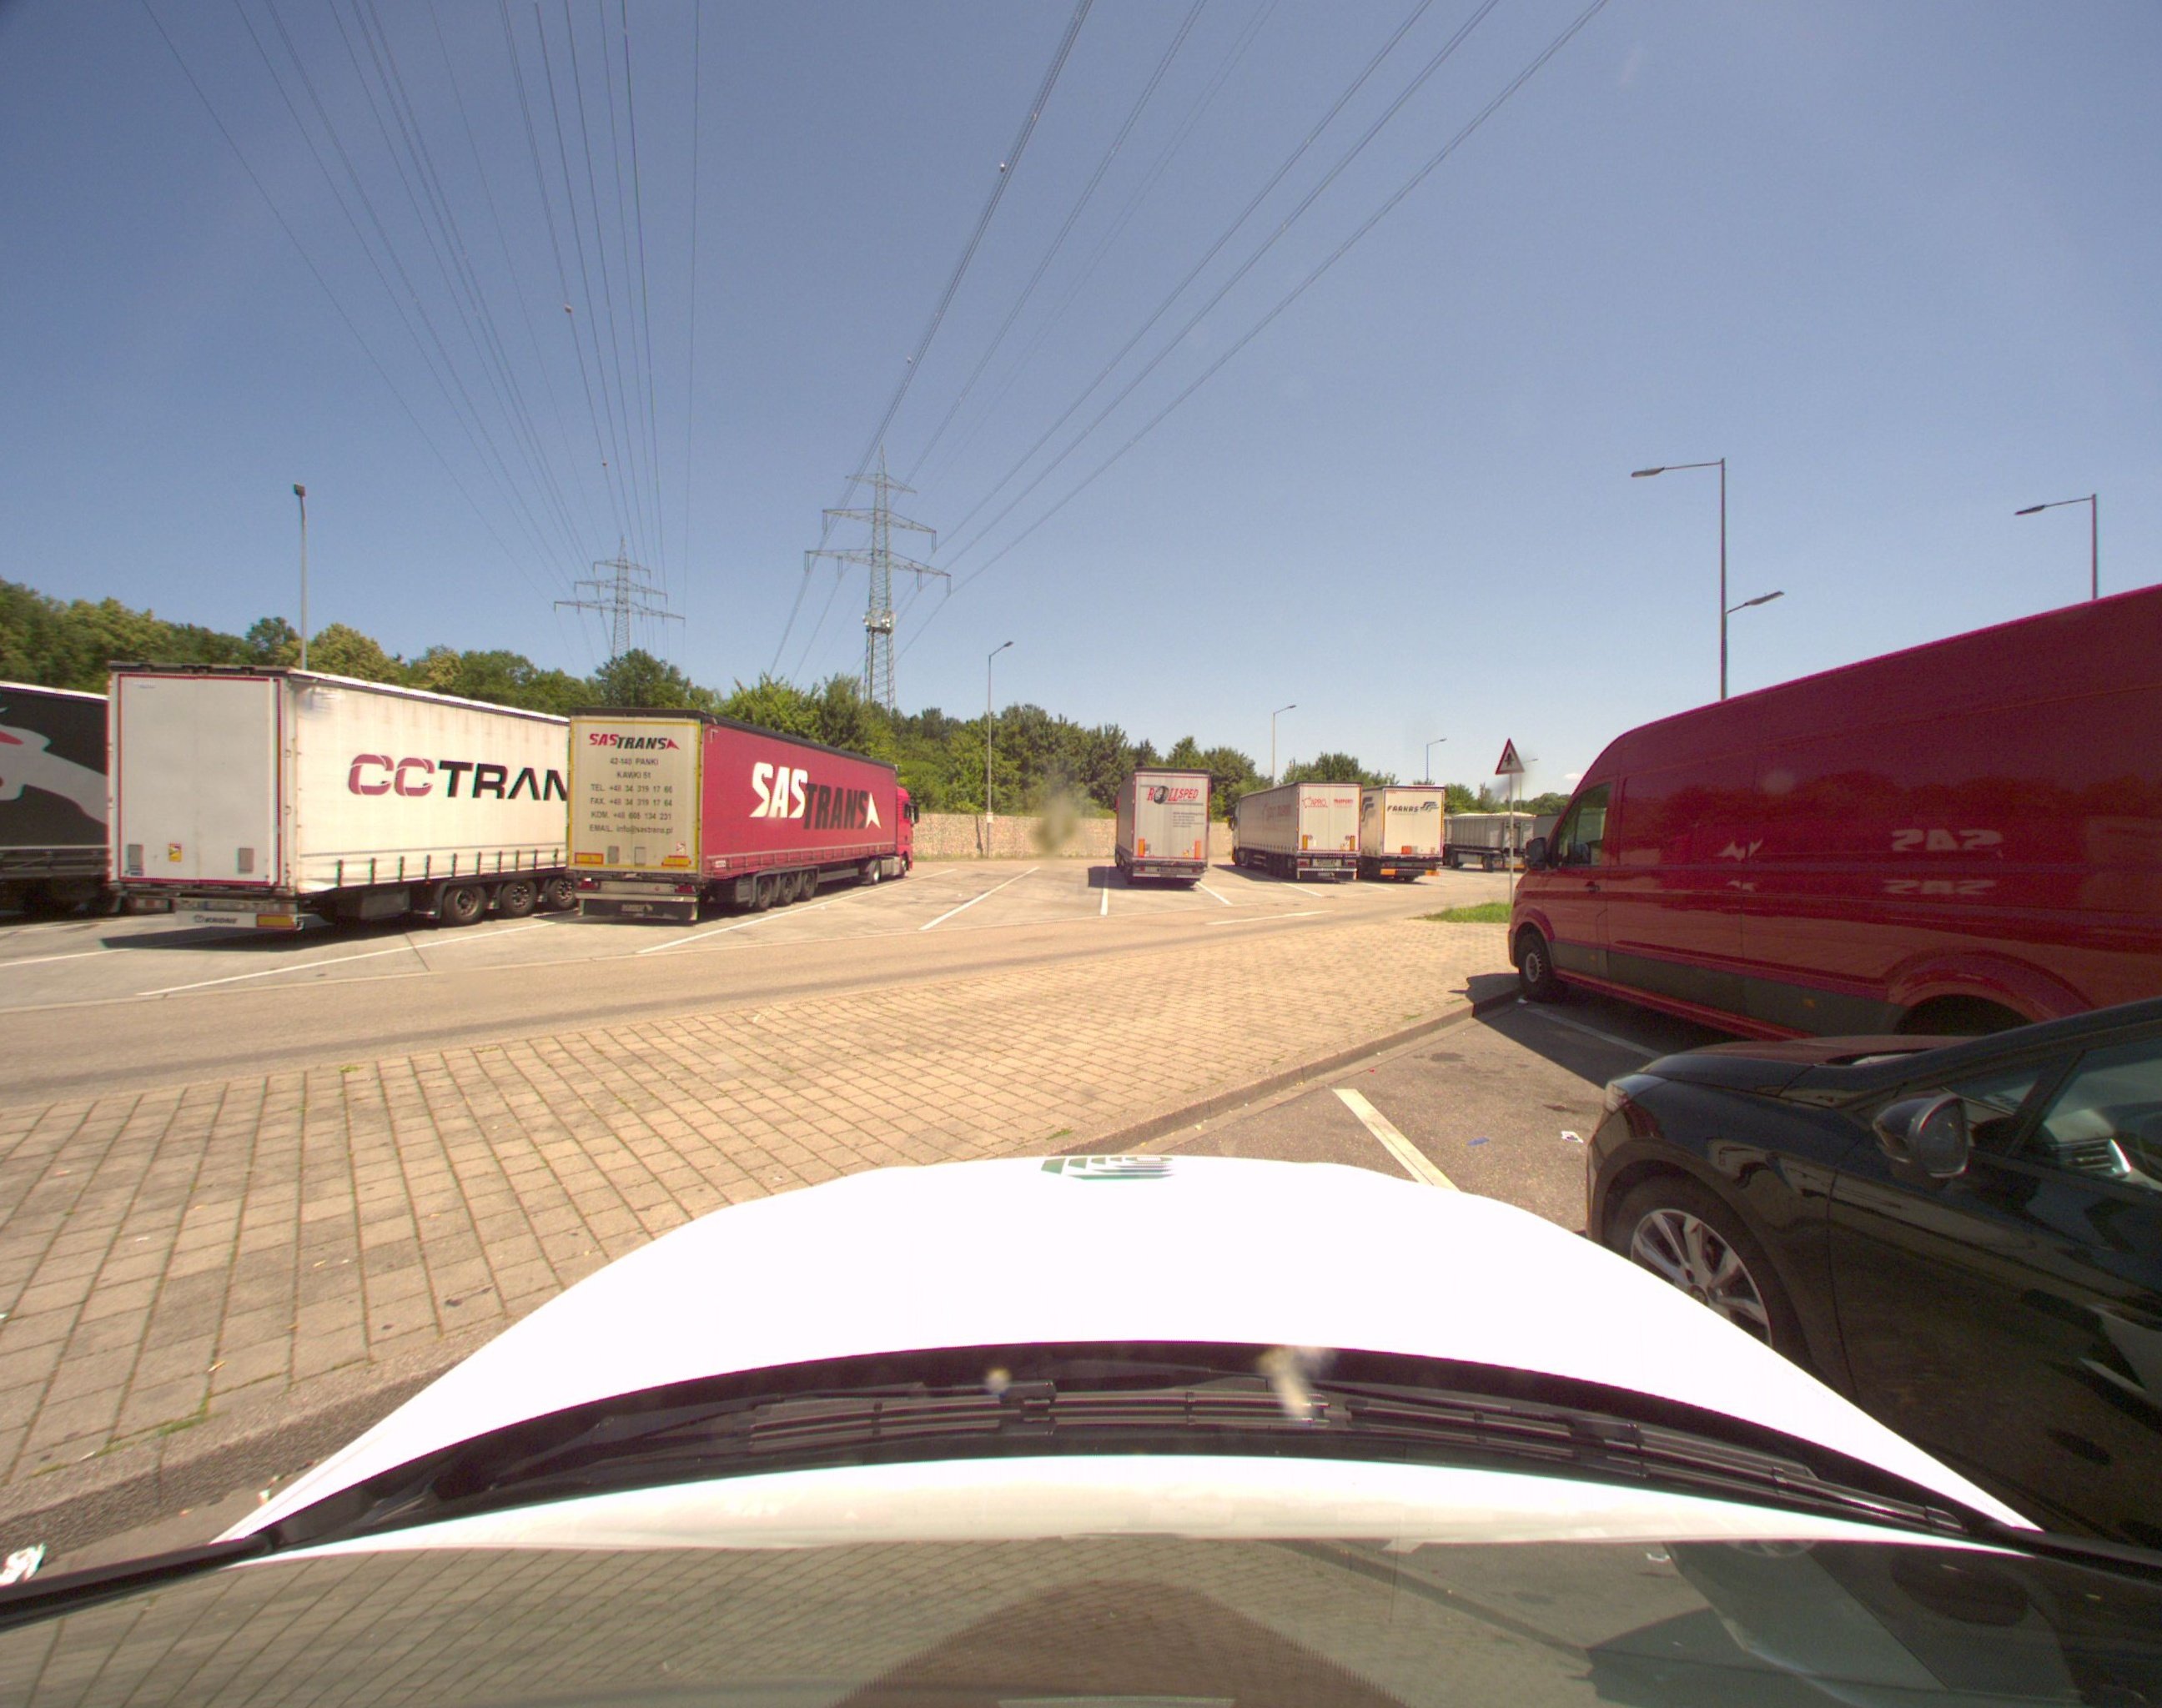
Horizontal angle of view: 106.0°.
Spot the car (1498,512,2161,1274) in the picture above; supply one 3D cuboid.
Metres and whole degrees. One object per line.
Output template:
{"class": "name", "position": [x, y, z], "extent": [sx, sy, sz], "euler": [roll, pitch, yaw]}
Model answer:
{"class": "car", "position": [5.153, 0.088, 5.472], "extent": [2.055, 2.695, 6.405], "euler": [-1, 1, 6]}

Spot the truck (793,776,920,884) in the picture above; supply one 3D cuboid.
{"class": "truck", "position": [-7.804, -0.838, 29.078], "extent": [2.841, 3.427, 5.486], "euler": [1, 1, 2]}

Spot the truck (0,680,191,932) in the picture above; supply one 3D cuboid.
{"class": "truck", "position": [-18.586, -0.807, 13.550], "extent": [2.692, 4.016, 4.326], "euler": [1, 2, 2]}

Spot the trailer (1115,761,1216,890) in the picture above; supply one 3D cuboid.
{"class": "trailer", "position": [3.022, -1.102, 33.279], "extent": [2.896, 4.132, 13.727], "euler": [1, 2, 1]}

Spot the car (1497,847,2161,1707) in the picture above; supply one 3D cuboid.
{"class": "car", "position": [2.509, 0.754, 1.162], "extent": [1.733, 1.482, 3.813], "euler": [-1, 1, -3]}

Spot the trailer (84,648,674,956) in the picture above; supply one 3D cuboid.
{"class": "trailer", "position": [-12.210, -0.893, 16.314], "extent": [2.718, 4.209, 10.175], "euler": [1, 2, 2]}

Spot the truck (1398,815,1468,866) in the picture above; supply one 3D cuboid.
{"class": "truck", "position": [24.922, -1.003, 57.930], "extent": [2.840, 3.364, 5.488], "euler": [1, 1, 3]}

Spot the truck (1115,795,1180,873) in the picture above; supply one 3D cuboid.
{"class": "truck", "position": [3.167, -0.988, 39.892], "extent": [2.841, 3.483, 5.486], "euler": [1, 1, 2]}

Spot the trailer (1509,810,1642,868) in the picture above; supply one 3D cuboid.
{"class": "trailer", "position": [38.377, -1.227, 64.114], "extent": [2.826, 4.049, 13.737], "euler": [1, 2, 3]}

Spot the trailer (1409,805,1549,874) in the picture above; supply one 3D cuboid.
{"class": "trailer", "position": [24.532, -0.995, 51.432], "extent": [2.826, 3.717, 13.737], "euler": [1, 2, 3]}

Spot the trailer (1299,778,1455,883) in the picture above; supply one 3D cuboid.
{"class": "trailer", "position": [13.610, -1.117, 39.267], "extent": [2.828, 4.132, 13.730], "euler": [1, 2, 2]}

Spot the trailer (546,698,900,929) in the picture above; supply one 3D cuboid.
{"class": "trailer", "position": [-8.044, -0.956, 21.642], "extent": [2.896, 4.131, 13.731], "euler": [1, 2, 2]}

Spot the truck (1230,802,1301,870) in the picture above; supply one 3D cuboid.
{"class": "truck", "position": [10.163, -1.026, 45.415], "extent": [2.841, 3.483, 5.486], "euler": [1, 1, 2]}

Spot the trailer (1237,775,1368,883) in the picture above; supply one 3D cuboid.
{"class": "trailer", "position": [9.953, -1.152, 38.605], "extent": [2.828, 4.132, 13.730], "euler": [1, 2, 2]}
